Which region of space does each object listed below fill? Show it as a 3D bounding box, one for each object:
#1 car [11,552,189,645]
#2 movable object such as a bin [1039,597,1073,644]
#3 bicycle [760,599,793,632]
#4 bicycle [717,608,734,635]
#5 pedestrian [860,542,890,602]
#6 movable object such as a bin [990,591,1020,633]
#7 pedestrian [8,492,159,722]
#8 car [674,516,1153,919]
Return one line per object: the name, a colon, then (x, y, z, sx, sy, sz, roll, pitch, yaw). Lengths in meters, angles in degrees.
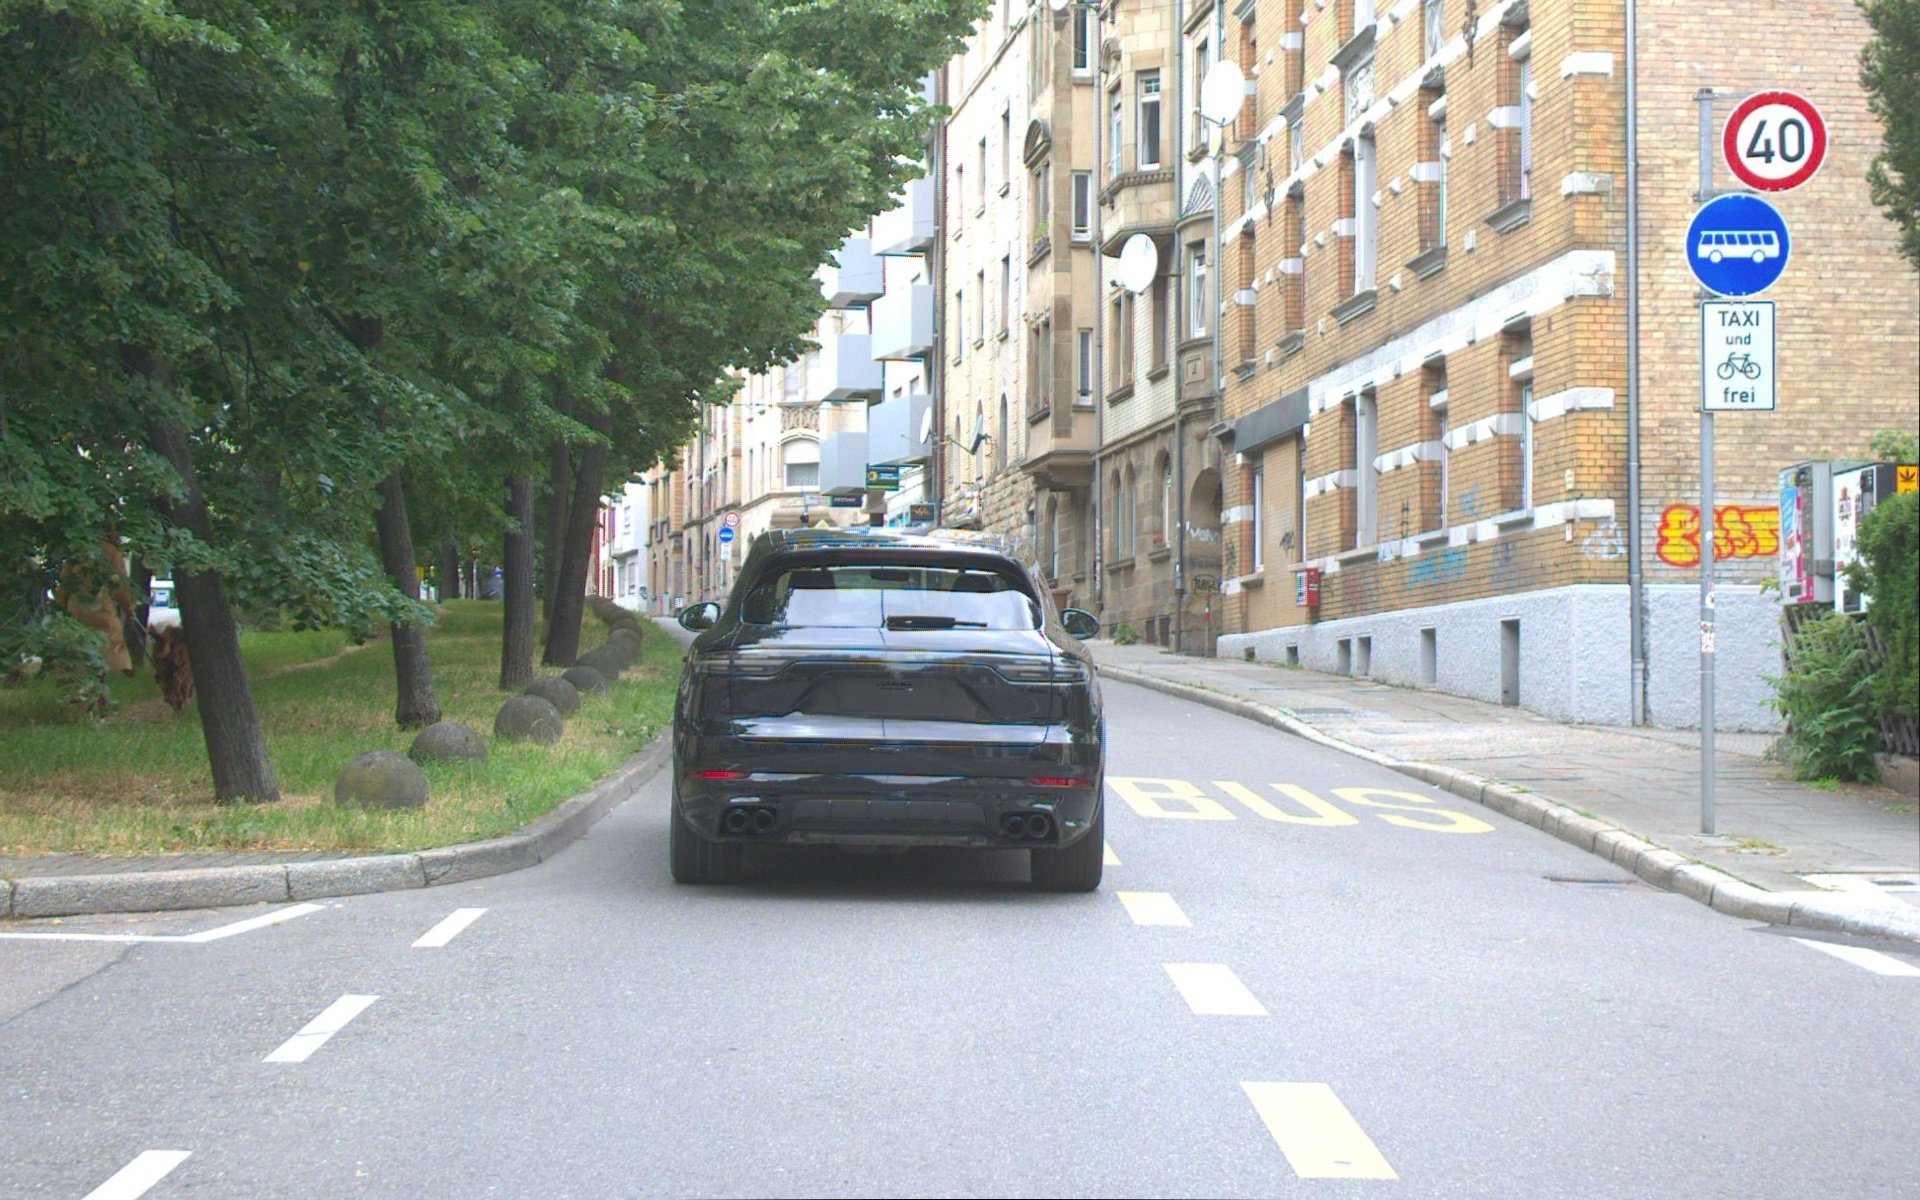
car: (-14.023, -0.053, 56.283, 1.758, 1.377, 4.669, -1, 1, -1)
movable object such as a bin: (1.903, 0.406, 68.287, 0.594, 0.901, 0.563, 1, 0, -6)
bicycle: (-6.827, 0.580, 127.757, 0.879, 1.125, 2.980, 1, -2, -9)
bicycle: (-9.468, 0.865, 138.910, 0.446, 1.033, 2.249, 0, -2, -10)
pedestrian: (-2.423, -0.793, 97.890, 0.751, 1.687, 0.858, 0, -1, -7)
movable object such as a bin: (1.002, 0.273, 76.750, 0.594, 0.901, 0.503, 1, -4, -6)
pedestrian: (-6.779, 0.067, 26.641, 0.833, 1.706, 1.123, -3, -2, -1)
car: (-0.305, 0.464, 16.719, 1.993, 1.660, 4.001, 2, 1, -3)
